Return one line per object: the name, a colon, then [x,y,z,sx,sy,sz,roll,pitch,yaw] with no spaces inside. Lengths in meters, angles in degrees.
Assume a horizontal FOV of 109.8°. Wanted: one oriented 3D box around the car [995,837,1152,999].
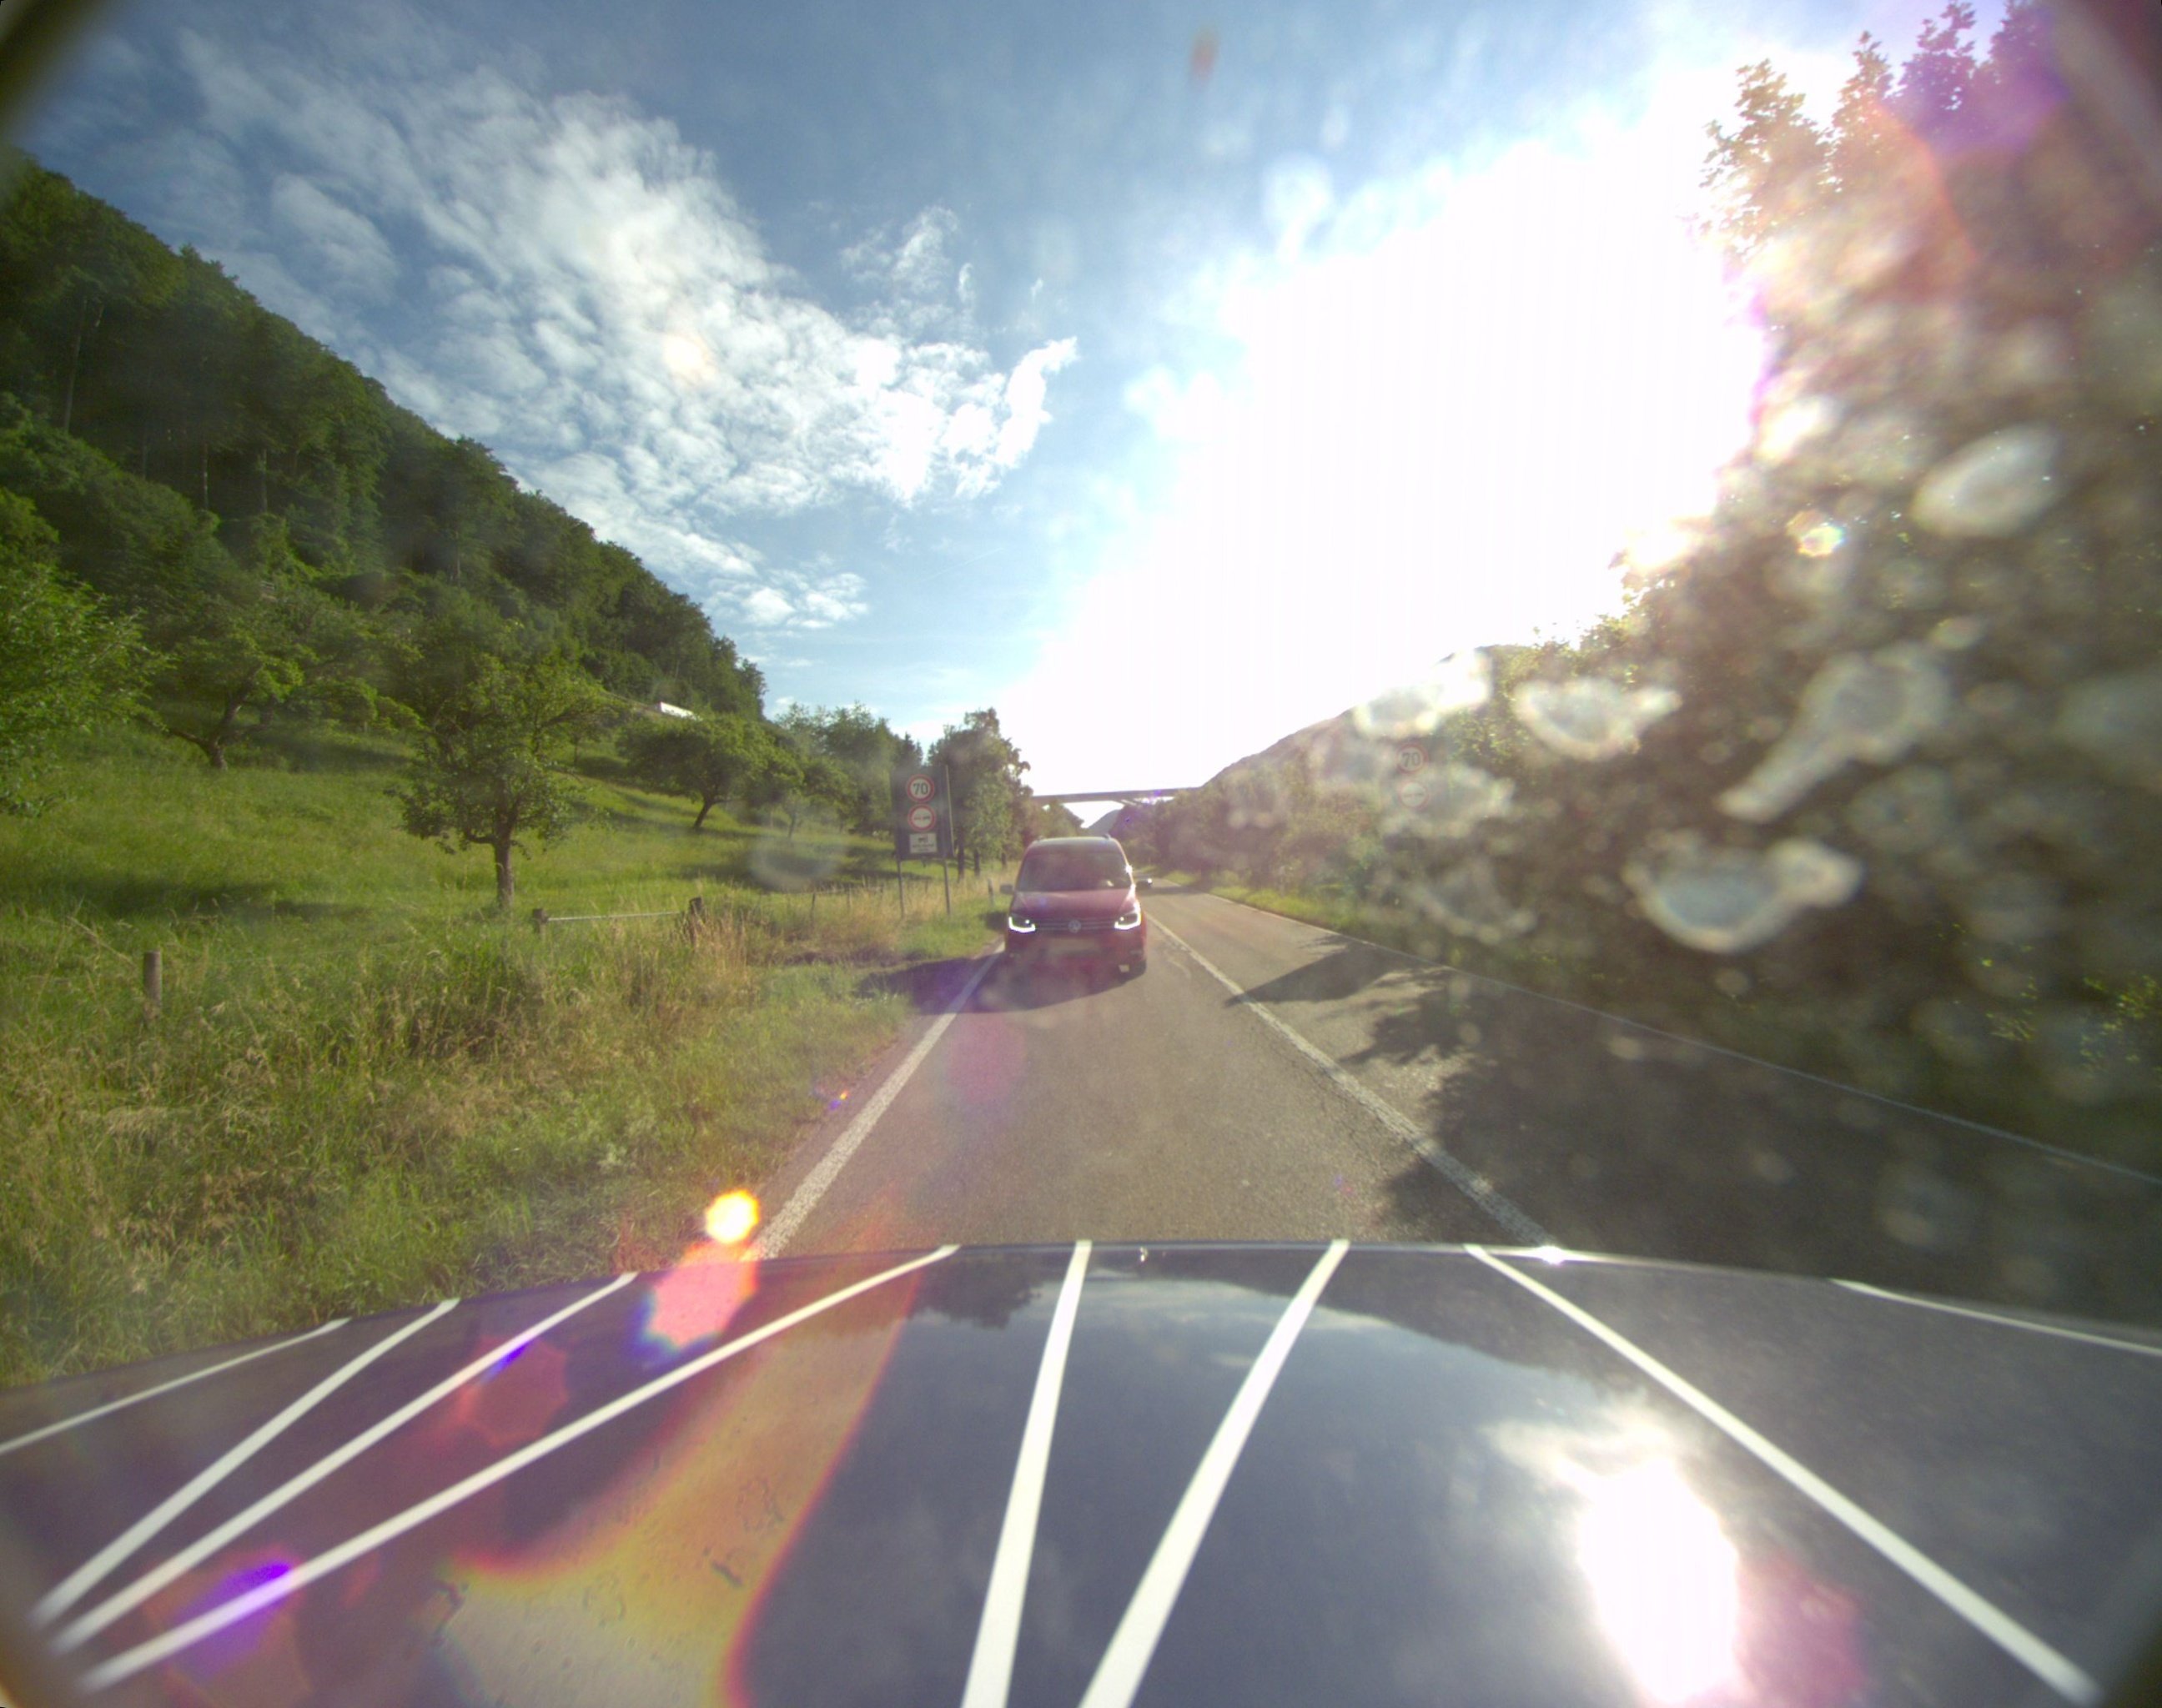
car: [-0.105,0.732,10.631,1.741,1.803,4.000,-1,0,-1]
